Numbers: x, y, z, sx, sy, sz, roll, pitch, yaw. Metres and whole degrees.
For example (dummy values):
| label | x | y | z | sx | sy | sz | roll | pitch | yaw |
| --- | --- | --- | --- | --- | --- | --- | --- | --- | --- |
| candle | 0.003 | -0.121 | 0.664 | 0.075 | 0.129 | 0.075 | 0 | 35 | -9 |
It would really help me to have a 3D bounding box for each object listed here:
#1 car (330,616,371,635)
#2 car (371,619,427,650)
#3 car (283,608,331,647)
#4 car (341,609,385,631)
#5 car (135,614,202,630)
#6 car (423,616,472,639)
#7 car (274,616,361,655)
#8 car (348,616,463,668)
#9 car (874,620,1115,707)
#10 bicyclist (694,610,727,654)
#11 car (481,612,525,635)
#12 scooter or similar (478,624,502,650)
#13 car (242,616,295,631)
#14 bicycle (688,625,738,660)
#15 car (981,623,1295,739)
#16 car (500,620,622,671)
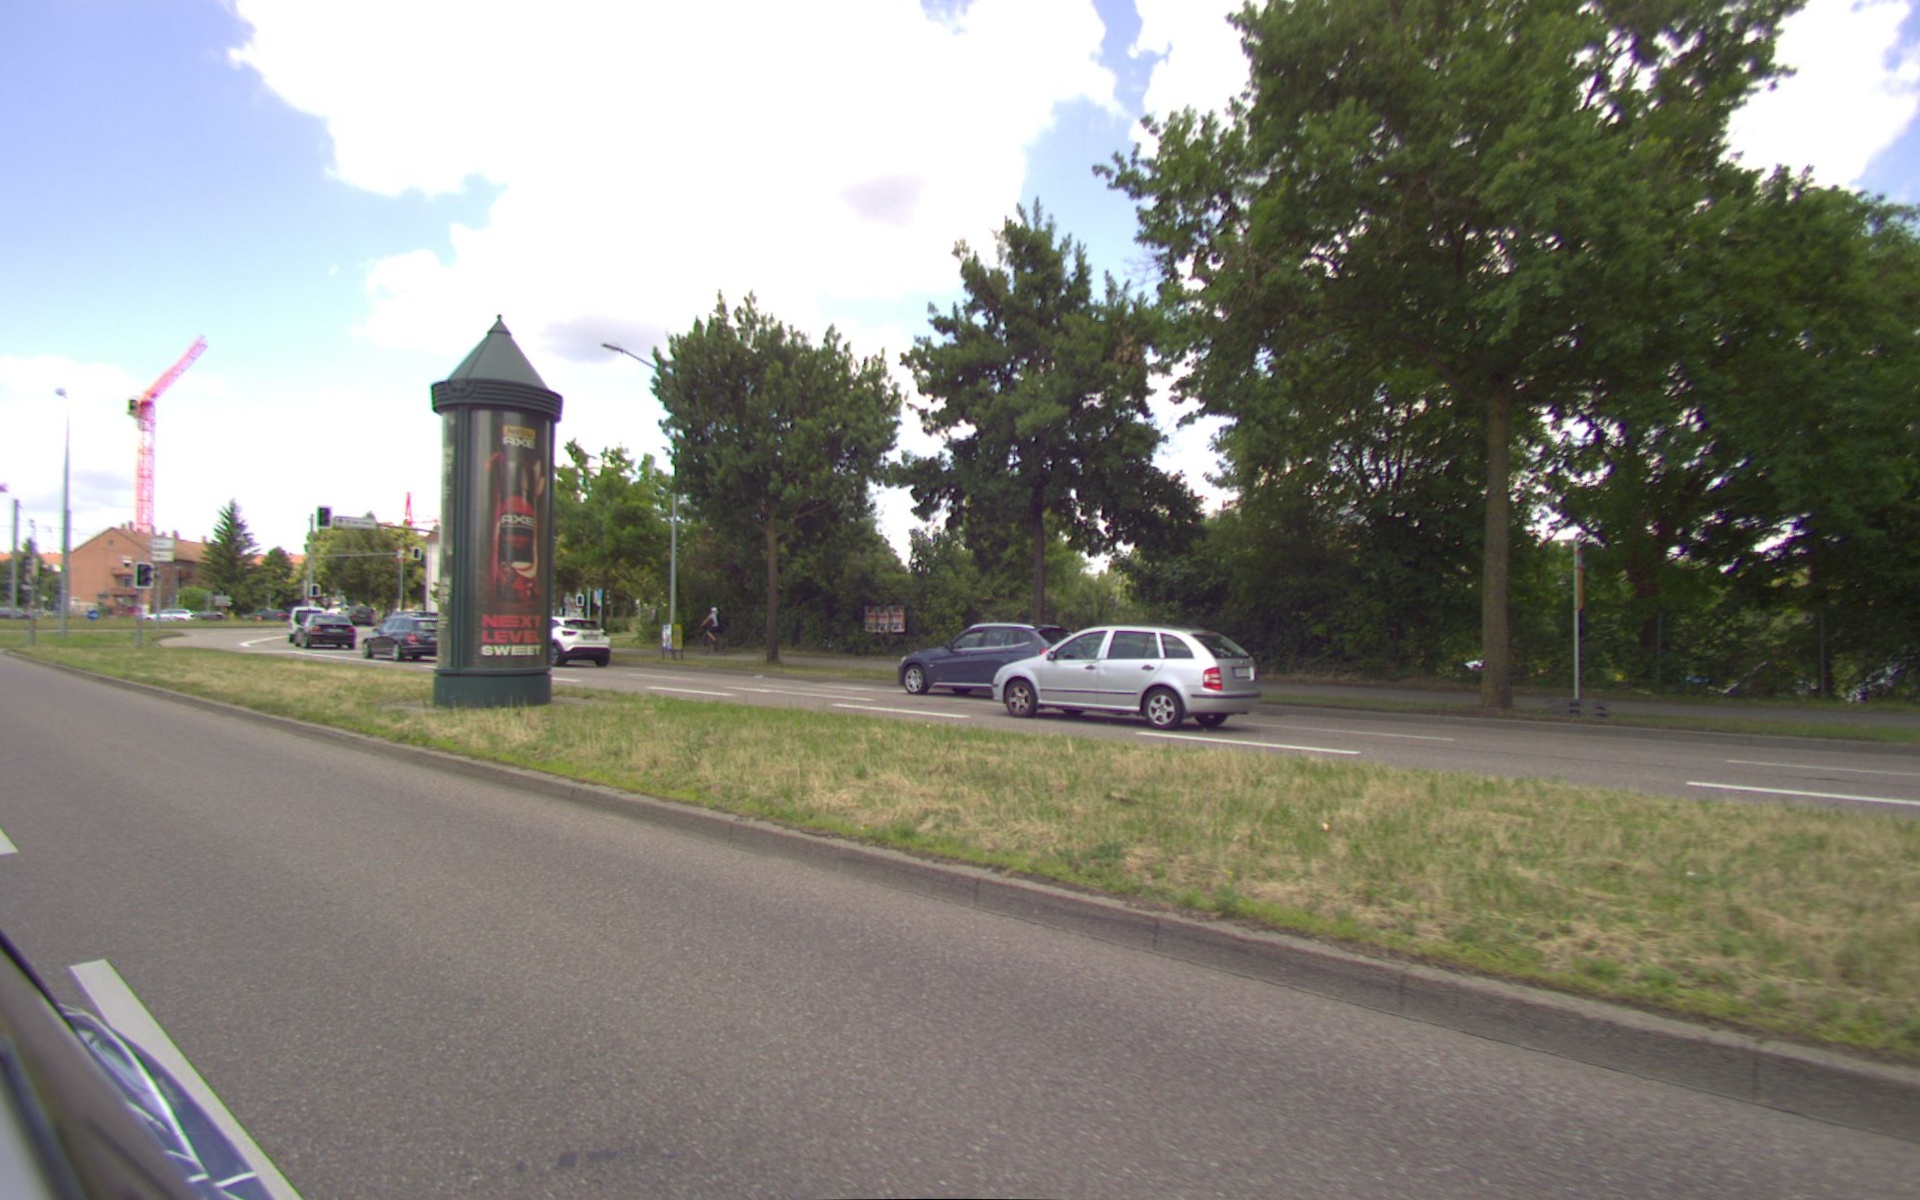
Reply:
| label | x | y | z | sx | sy | sz | roll | pitch | yaw |
| --- | --- | --- | --- | --- | --- | --- | --- | --- | --- |
| car | -51.706 | 2.145 | 85.816 | 1.886 | 1.604 | 4.595 | 2 | -1 | -45 |
| car | -27.882 | 1.688 | 50.265 | 1.813 | 1.454 | 4.429 | 3 | -3 | -36 |
| car | -32.316 | 1.349 | 50.109 | 1.813 | 1.813 | 4.801 | 3 | -3 | -33 |
| car | -56.701 | 1.913 | 96.038 | 4.781 | 2.029 | 1.974 | -1 | -1 | 38 |
| car | -74.278 | 2.056 | 95.020 | 4.433 | 1.533 | 2.129 | 0 | -1 | -11 |
| car | -31.856 | 1.718 | 62.995 | 1.594 | 1.358 | 4.180 | 2 | -2 | -11 |
| car | -27.045 | 1.458 | 42.529 | 4.751 | 1.491 | 1.818 | 0 | -3 | 42 |
| car | -18.443 | 1.347 | 33.546 | 5.011 | 1.603 | 1.704 | -1 | -3 | 41 |
| car | 0.607 | 1.235 | 21.022 | 5.028 | 1.589 | 1.745 | -1 | -2 | 41 |
| bicyclist | -9.204 | 1.185 | 37.362 | 0.883 | 1.576 | 0.821 | 0 | 1 | 41 |
| car | -34.548 | 1.752 | 76.680 | 1.967 | 1.699 | 4.798 | 0 | -1 | -11 |
| scooter or similar | -21.750 | 1.705 | 46.819 | 0.534 | 1.175 | 1.441 | 1 | -1 | -45 |
| car | -65.409 | 2.245 | 95.698 | 3.933 | 1.351 | 1.798 | 1 | -3 | 8 |
| bicycle | -9.137 | 1.558 | 37.344 | 2.015 | 1.228 | 0.753 | 0 | 1 | 41 |
| car | 2.513 | 1.084 | 14.942 | 4.307 | 1.451 | 1.744 | -1 | -3 | 42 |
| car | -12.955 | 1.437 | 32.757 | 4.366 | 1.552 | 1.890 | -1 | -3 | 41 |
